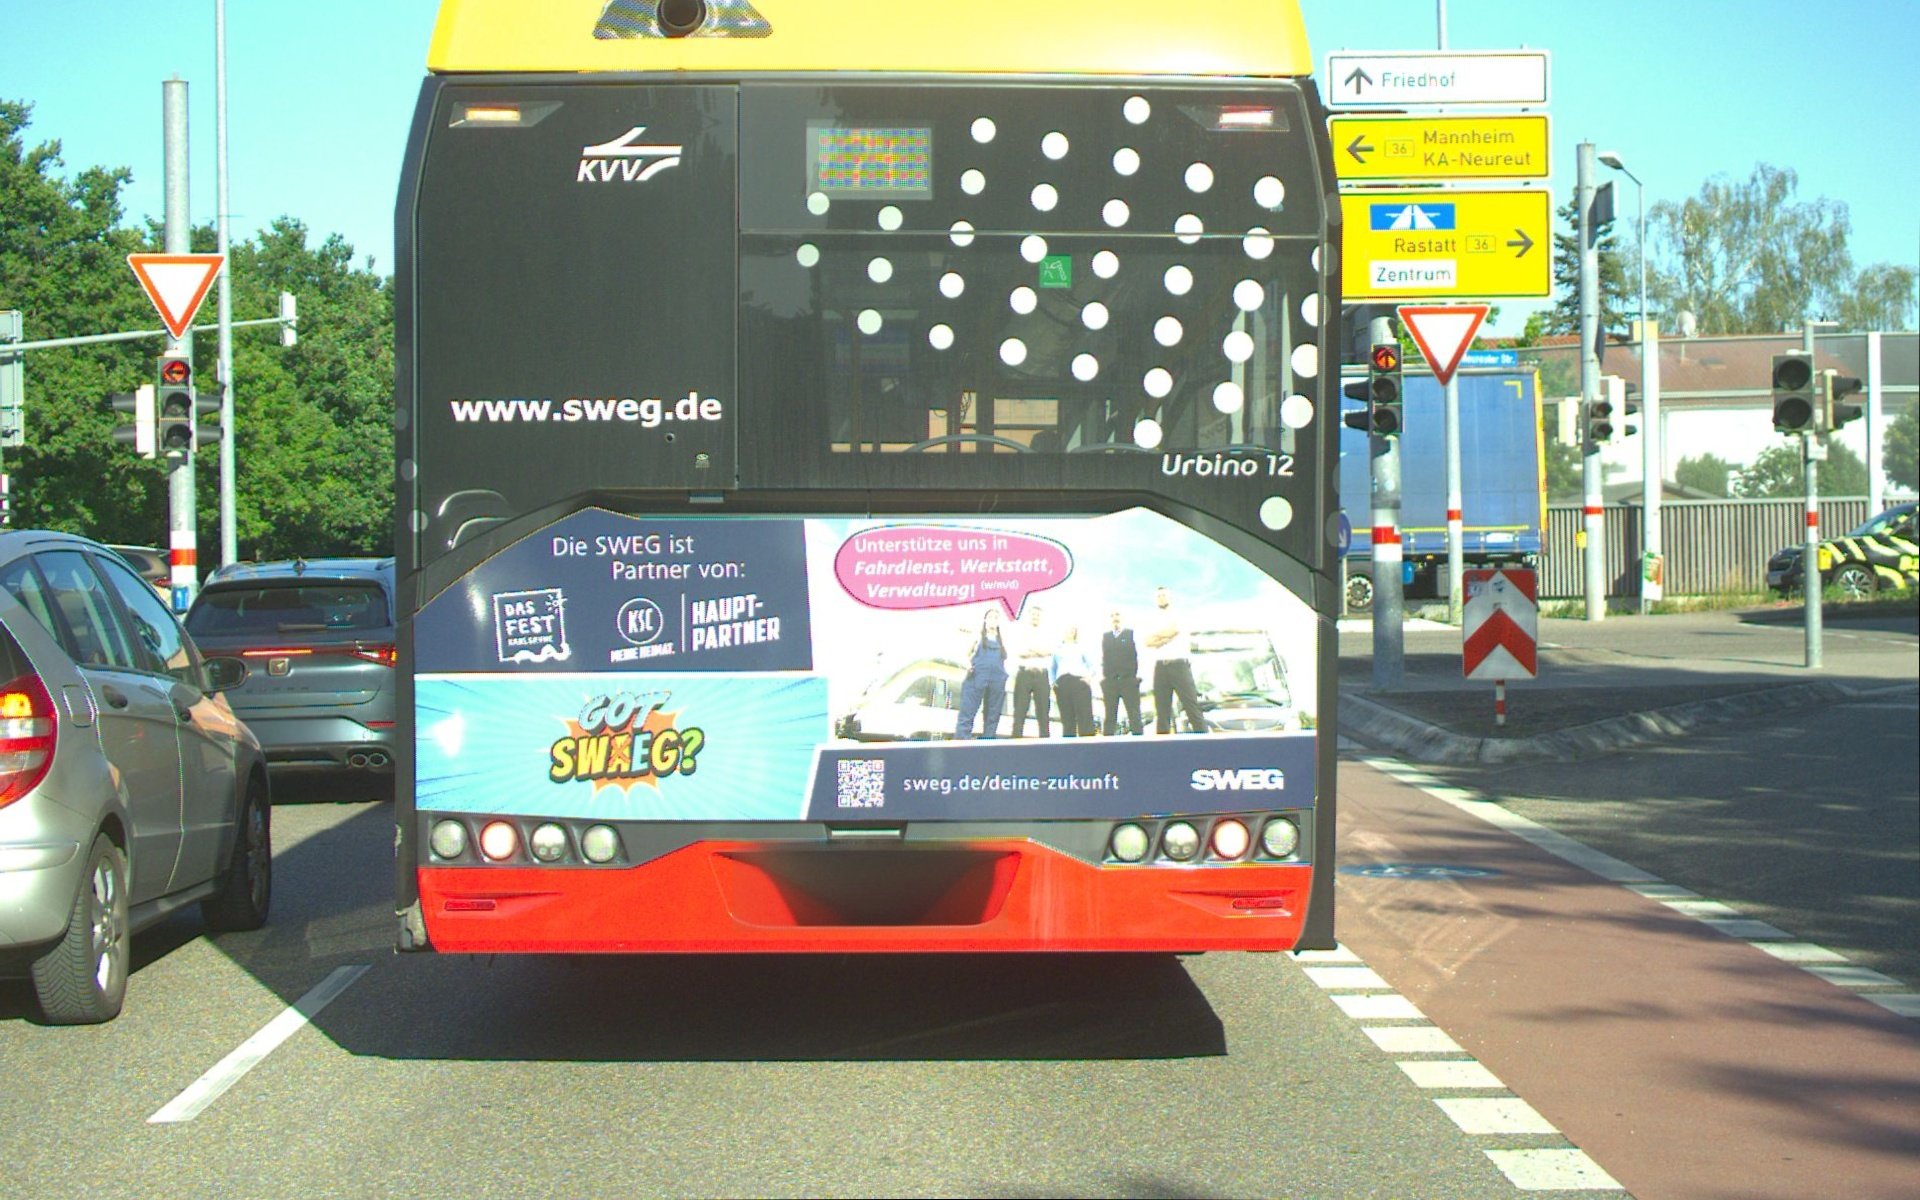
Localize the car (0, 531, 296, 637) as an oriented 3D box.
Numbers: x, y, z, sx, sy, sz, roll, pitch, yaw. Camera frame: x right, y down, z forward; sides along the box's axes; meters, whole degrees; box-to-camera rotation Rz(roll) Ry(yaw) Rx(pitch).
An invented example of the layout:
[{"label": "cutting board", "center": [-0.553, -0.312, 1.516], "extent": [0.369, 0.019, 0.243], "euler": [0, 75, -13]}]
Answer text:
[{"label": "car", "center": [-11.465, -0.221, 48.550], "extent": [3.986, 1.437, 1.566], "euler": [0, 0, -6]}]

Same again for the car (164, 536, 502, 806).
[{"label": "car", "center": [-3.739, 0.389, 21.007], "extent": [1.588, 1.480, 3.683], "euler": [-1, 0, -4]}]

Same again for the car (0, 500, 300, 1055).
[{"label": "car", "center": [-3.569, 0.479, 12.193], "extent": [1.753, 1.614, 4.034], "euler": [-1, 2, -2]}]

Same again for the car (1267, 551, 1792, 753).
[{"label": "car", "center": [3.977, 0.337, 24.245], "extent": [3.523, 1.297, 1.574], "euler": [1, 2, 8]}]

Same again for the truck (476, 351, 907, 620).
[{"label": "truck", "center": [-4.140, -1.746, 52.698], "extent": [6.396, 3.984, 2.473], "euler": [-1, 1, -7]}]

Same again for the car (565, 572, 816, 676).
[{"label": "car", "center": [-4.398, 0.376, 55.930], "extent": [3.986, 1.606, 1.696], "euler": [-1, 1, -6]}]

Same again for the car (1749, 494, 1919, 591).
[{"label": "car", "center": [13.248, -0.777, 47.757], "extent": [4.159, 1.298, 1.575], "euler": [0, 0, -4]}]

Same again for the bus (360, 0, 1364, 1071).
[{"label": "bus", "center": [-0.327, -0.541, 14.957], "extent": [2.596, 3.323, 11.984], "euler": [0, 1, -1]}]

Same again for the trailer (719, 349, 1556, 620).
[{"label": "trailer", "center": [2.702, -1.804, 53.482], "extent": [12.731, 4.016, 2.471], "euler": [-1, 1, -7]}]
